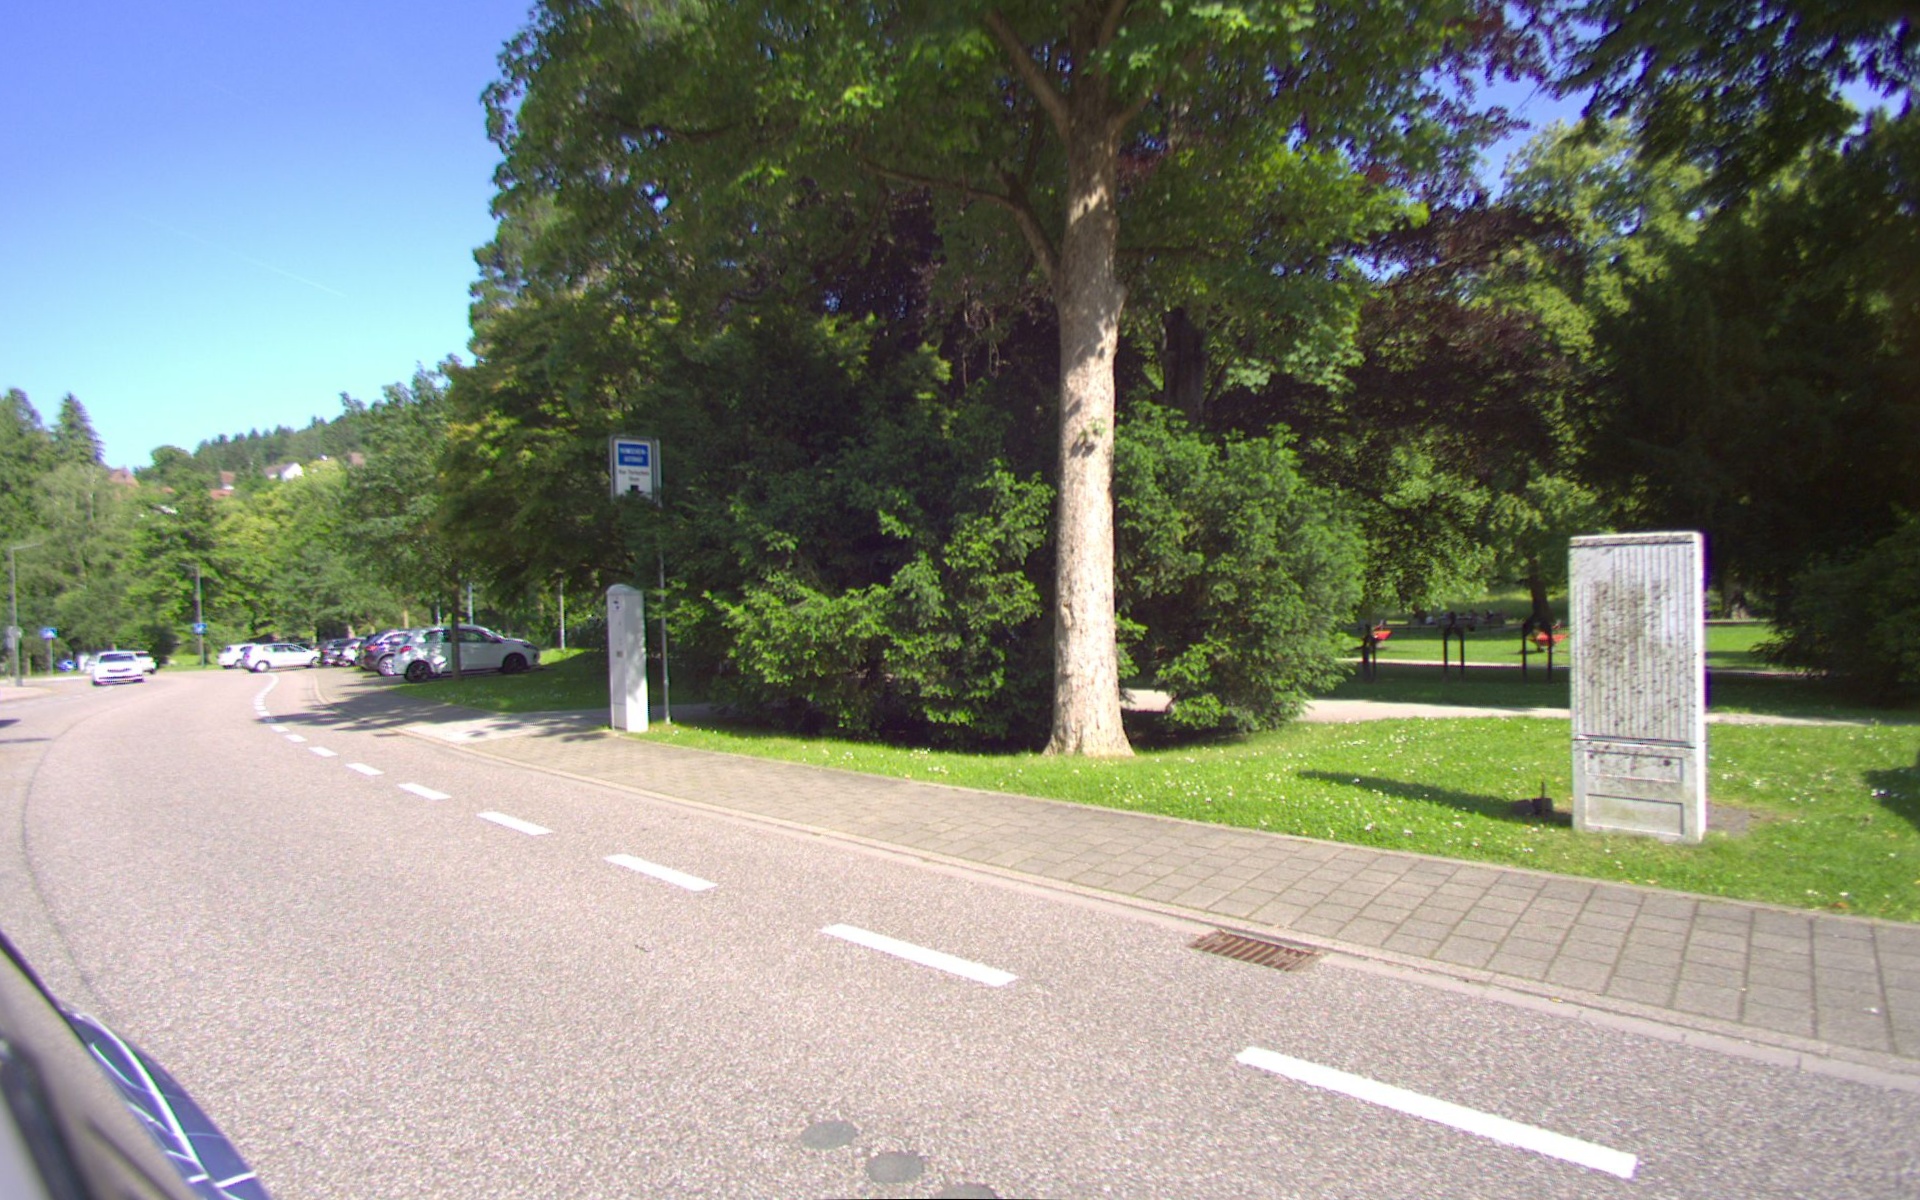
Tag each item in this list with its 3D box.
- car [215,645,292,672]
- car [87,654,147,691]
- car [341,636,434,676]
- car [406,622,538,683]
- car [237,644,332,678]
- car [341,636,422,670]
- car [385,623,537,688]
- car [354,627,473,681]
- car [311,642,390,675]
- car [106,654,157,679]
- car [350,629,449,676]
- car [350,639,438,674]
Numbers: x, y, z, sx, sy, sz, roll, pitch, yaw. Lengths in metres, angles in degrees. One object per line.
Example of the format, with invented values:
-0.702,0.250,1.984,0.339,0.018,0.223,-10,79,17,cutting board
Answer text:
-47.336,3.925,67.857,1.511,1.488,3.957,-4,-1,32,car
-37.439,3.189,45.011,1.713,1.508,3.939,-1,-2,-35,car
-25.199,2.426,44.564,3.435,1.436,1.557,-4,0,-33,car
-14.992,1.590,31.113,3.435,1.564,1.384,-3,0,-33,car
-36.294,3.248,54.411,1.516,1.408,3.943,-5,0,44,car
-29.711,2.722,52.015,3.435,1.436,1.557,-4,0,-33,car
-14.099,1.527,28.623,3.628,1.498,1.570,-3,0,-33,car
-18.823,1.847,34.878,3.435,1.557,1.447,-3,-1,-33,car
-32.189,3.061,53.442,3.435,1.436,1.557,-4,0,-33,car
-54.049,4.362,66.017,3.994,1.516,1.753,-3,-2,38,car
-23.458,2.167,42.380,3.435,1.632,1.384,-4,0,-33,car
-26.351,2.615,47.128,3.435,1.311,1.557,-4,0,-33,car
